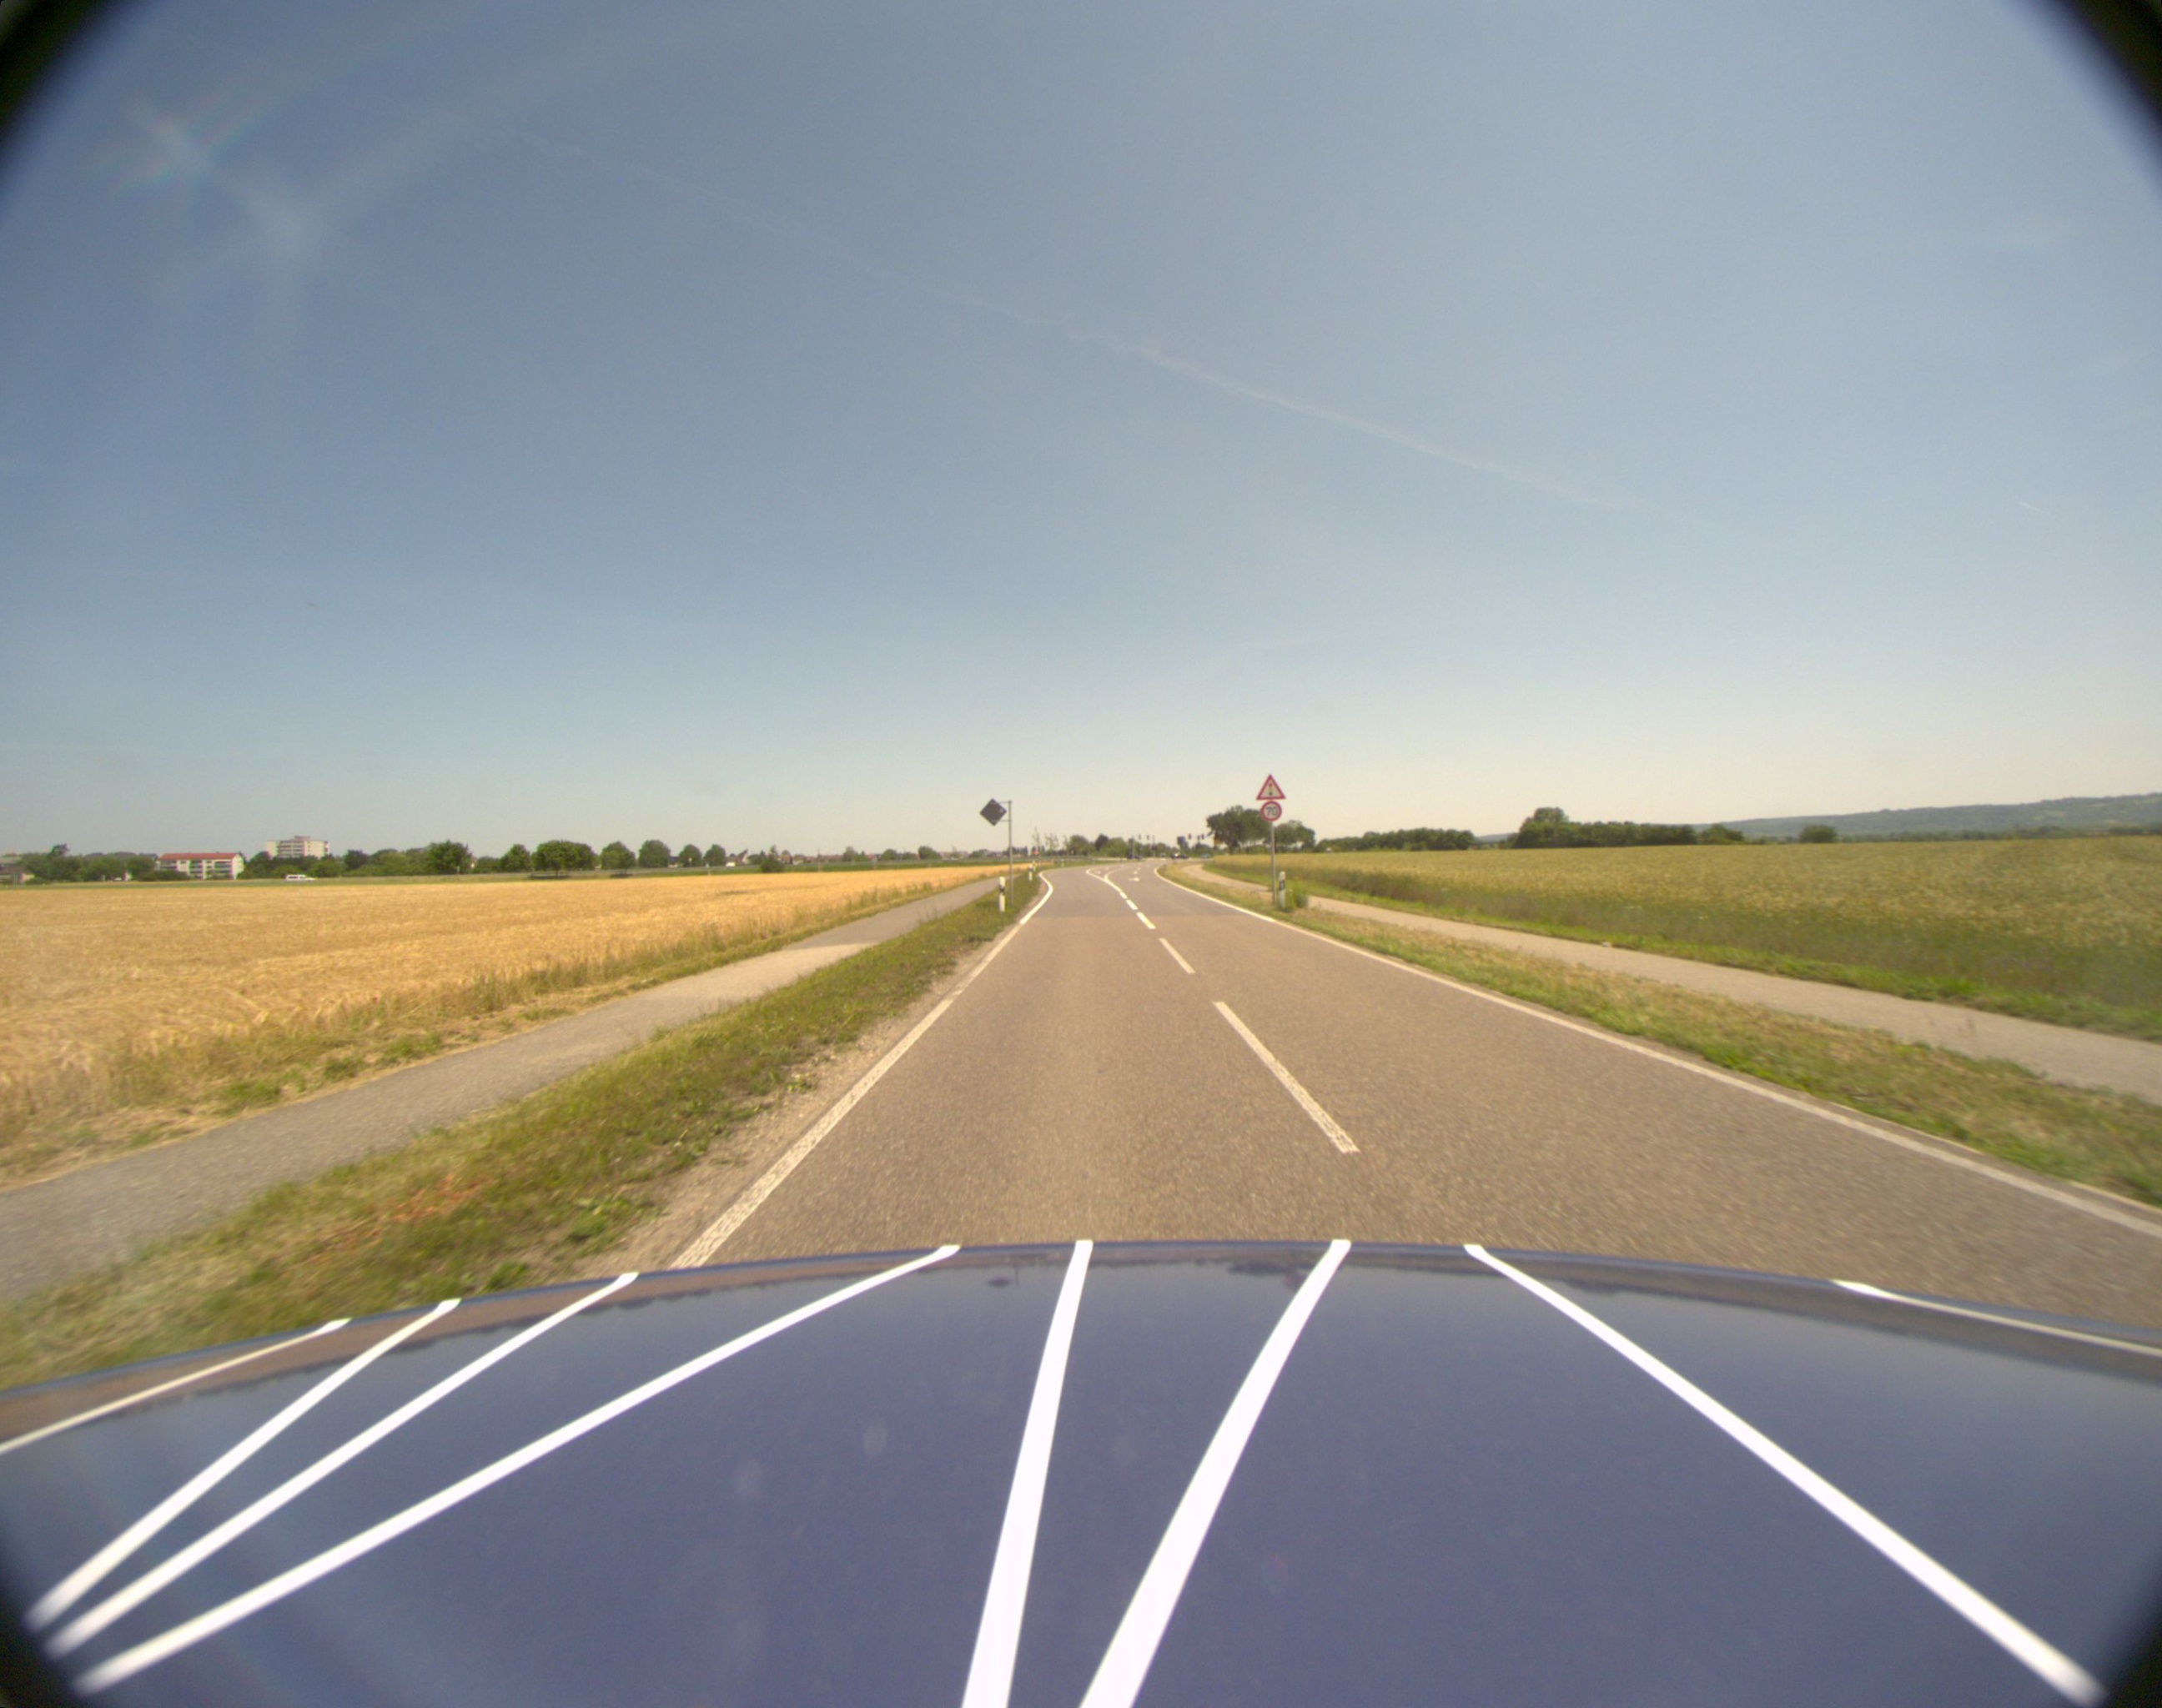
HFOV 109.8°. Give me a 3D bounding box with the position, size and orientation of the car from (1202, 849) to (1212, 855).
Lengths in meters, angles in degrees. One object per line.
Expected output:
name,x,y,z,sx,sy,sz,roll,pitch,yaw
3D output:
car,34.886,-0.619,210.300,1.654,1.557,4.007,0,0,28
